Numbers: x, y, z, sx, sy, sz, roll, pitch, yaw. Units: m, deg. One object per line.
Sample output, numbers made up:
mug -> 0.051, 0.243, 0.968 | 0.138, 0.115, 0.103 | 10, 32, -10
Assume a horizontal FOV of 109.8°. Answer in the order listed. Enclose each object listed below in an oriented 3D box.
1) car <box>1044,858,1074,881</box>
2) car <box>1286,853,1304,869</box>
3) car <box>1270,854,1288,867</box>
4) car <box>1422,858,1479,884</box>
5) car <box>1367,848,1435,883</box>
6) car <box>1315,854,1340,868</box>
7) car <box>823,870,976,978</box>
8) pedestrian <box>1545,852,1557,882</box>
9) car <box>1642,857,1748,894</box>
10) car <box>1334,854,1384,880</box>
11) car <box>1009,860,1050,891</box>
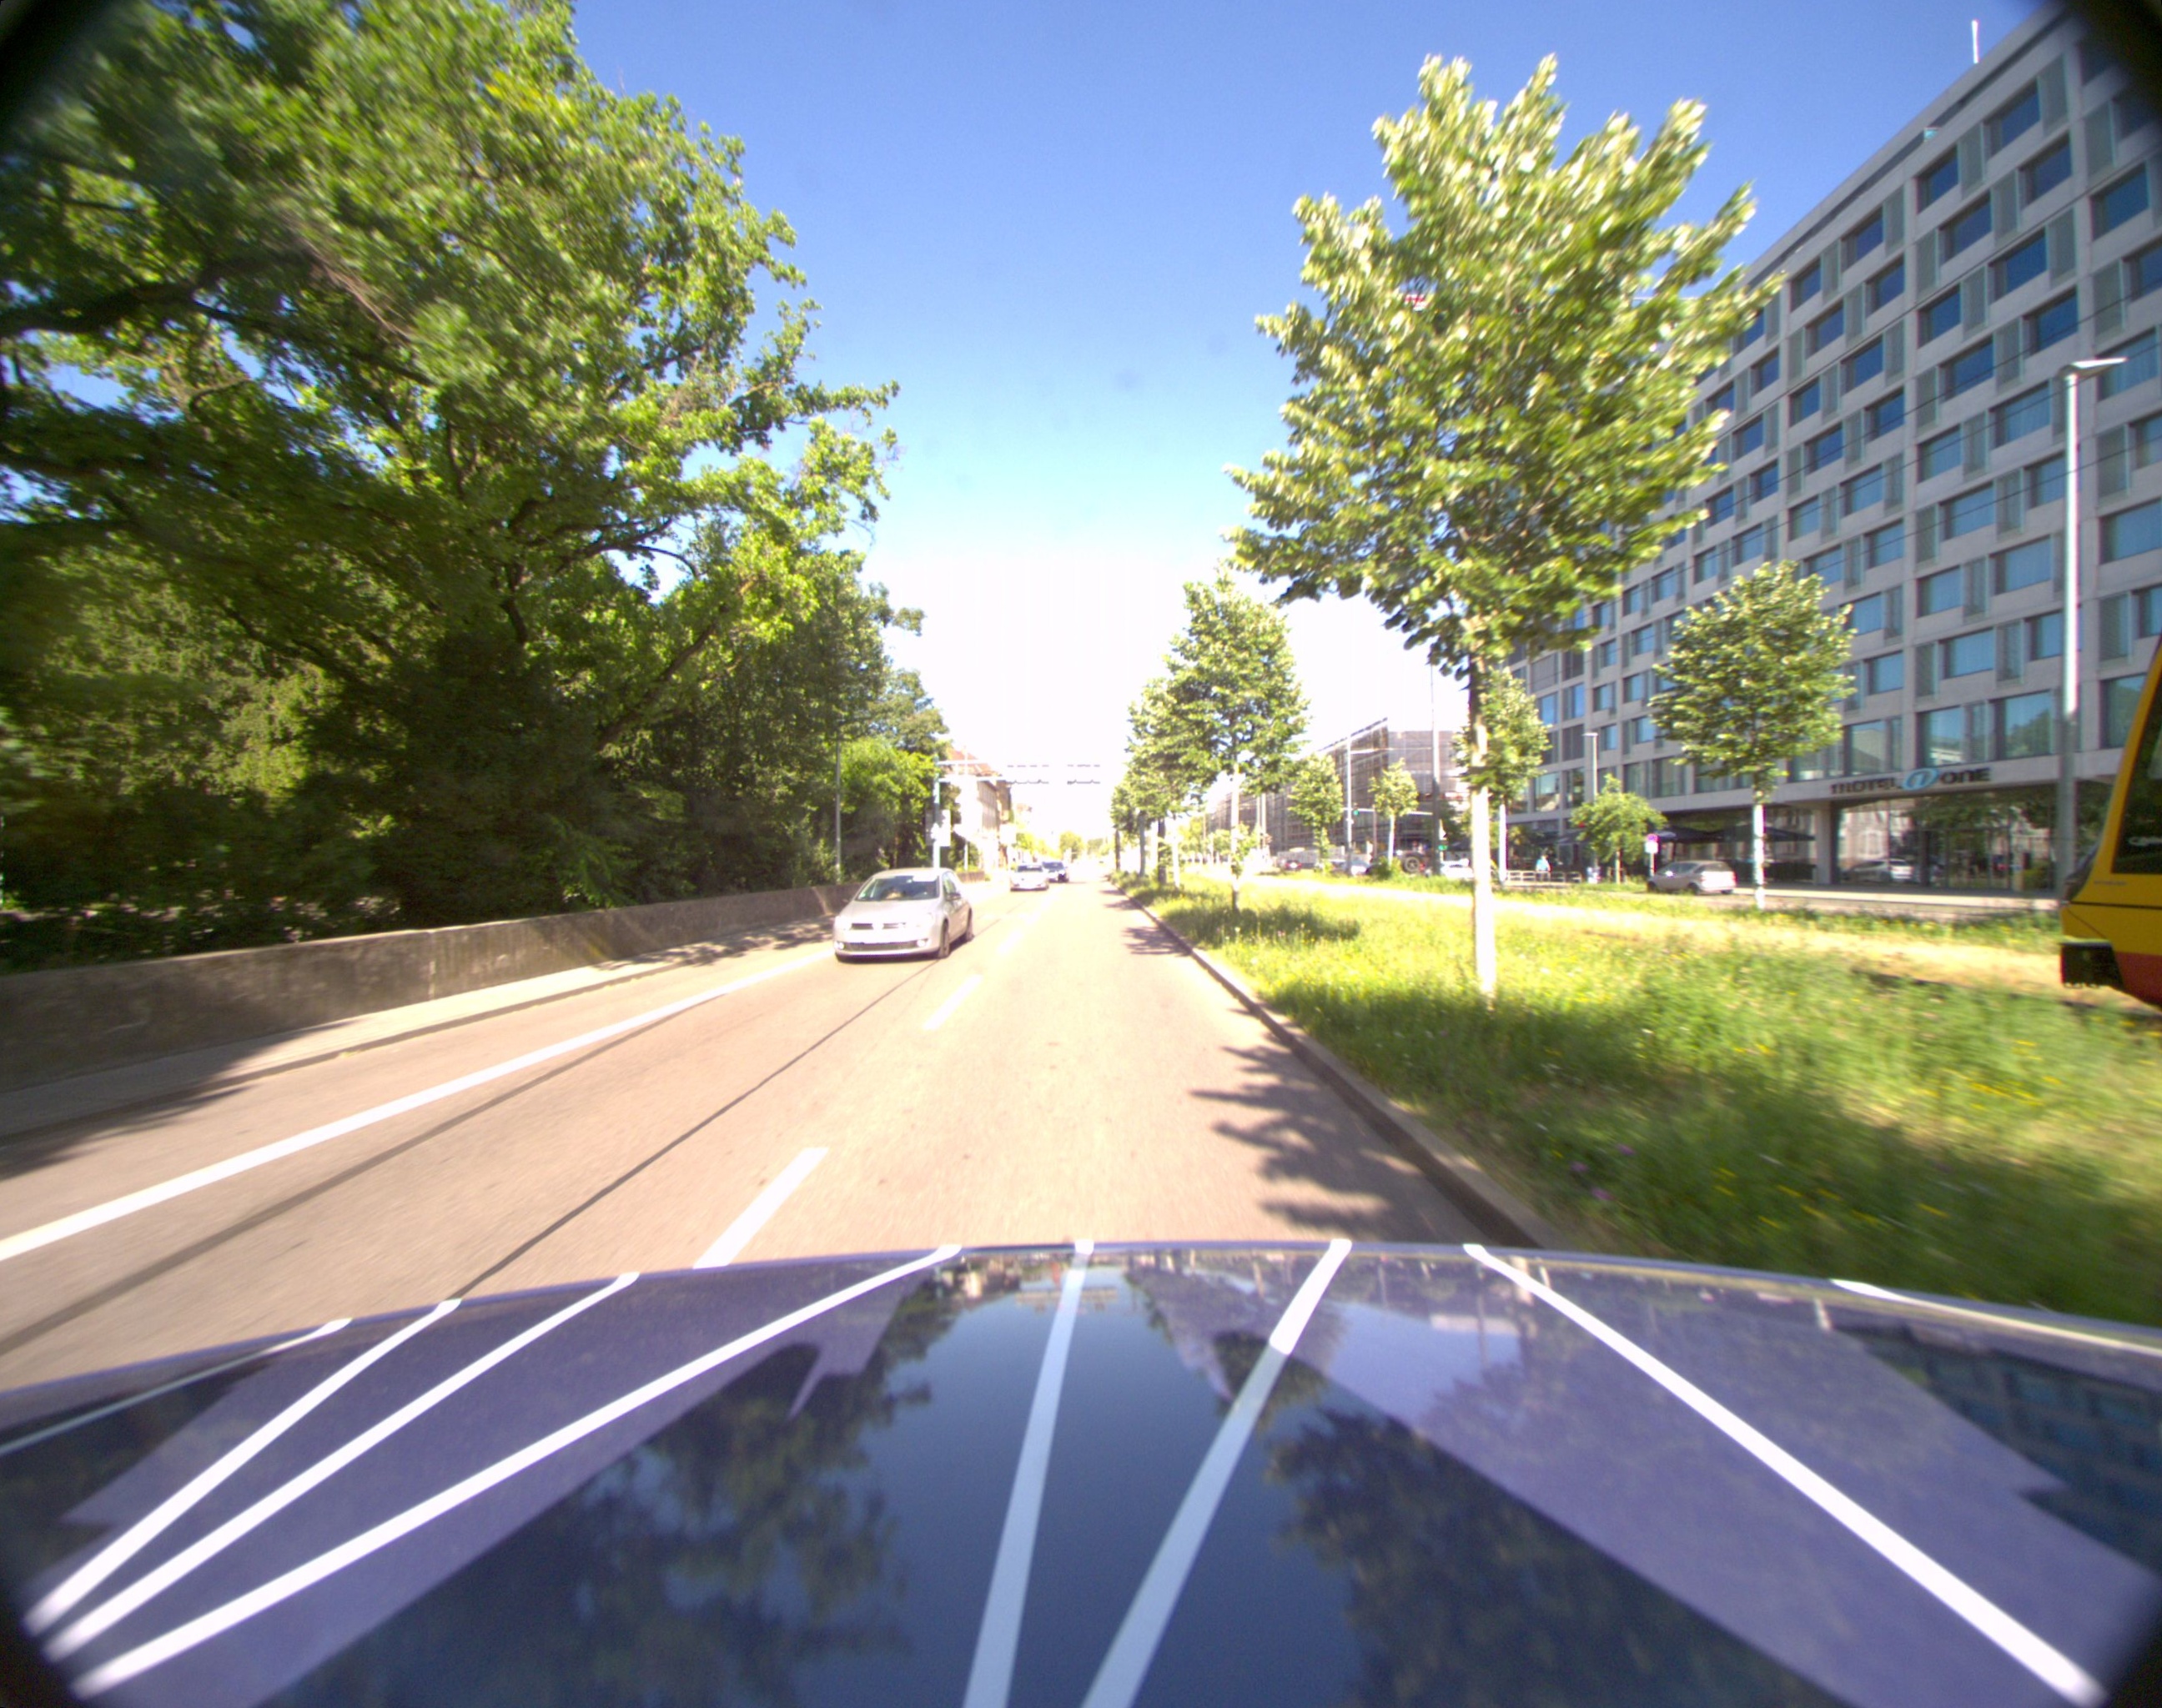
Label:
car -> -1.557, 1.076, 53.358 | 1.999, 1.493, 3.999 | 0, 0, -2
car -> 23.923, 0.812, 85.125 | 1.776, 1.664, 3.893 | -1, 0, 14
car -> 26.466, 0.875, 101.721 | 1.888, 1.565, 4.002 | -1, 0, 8
car -> 23.771, 1.058, 49.002 | 1.827, 1.499, 3.813 | -2, 0, 0
car -> 17.649, 0.615, 42.082 | 1.998, 1.808, 4.286 | -2, 0, 1
car -> 27.182, 0.759, 83.958 | 1.742, 1.537, 4.001 | -1, 0, 4
car -> -2.993, 1.090, 13.366 | 1.703, 1.465, 4.000 | -2, 0, 0
pedestrian -> 29.139, 0.819, 47.105 | 0.509, 1.829, 0.515 | -1, 1, 12
car -> 28.499, 0.961, 35.416 | 1.865, 1.541, 3.773 | -2, 0, 0
car -> 17.854, 0.832, 48.990 | 1.730, 1.543, 4.000 | -2, 0, 0
car -> -2.573, 1.070, 38.884 | 1.839, 1.415, 4.000 | -2, 0, 0
